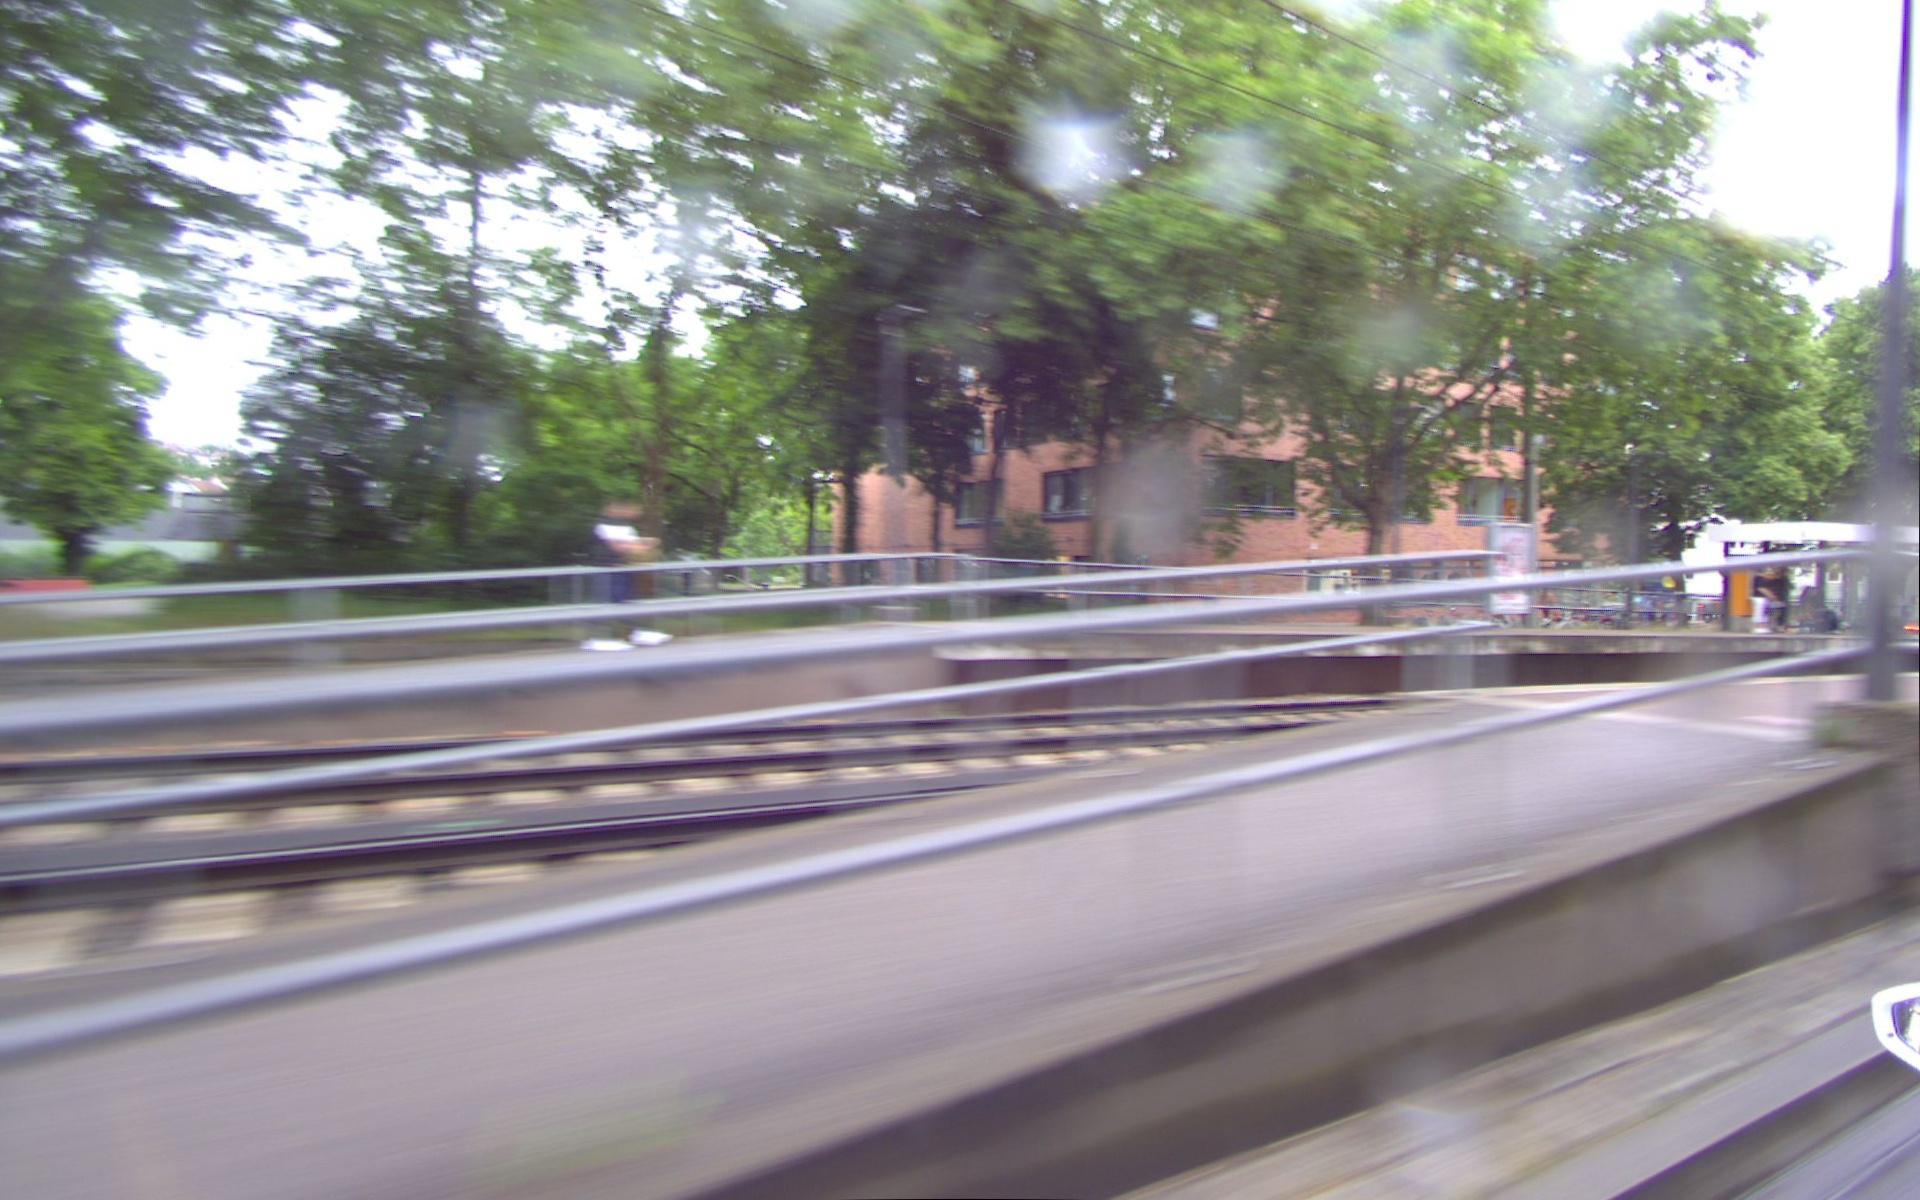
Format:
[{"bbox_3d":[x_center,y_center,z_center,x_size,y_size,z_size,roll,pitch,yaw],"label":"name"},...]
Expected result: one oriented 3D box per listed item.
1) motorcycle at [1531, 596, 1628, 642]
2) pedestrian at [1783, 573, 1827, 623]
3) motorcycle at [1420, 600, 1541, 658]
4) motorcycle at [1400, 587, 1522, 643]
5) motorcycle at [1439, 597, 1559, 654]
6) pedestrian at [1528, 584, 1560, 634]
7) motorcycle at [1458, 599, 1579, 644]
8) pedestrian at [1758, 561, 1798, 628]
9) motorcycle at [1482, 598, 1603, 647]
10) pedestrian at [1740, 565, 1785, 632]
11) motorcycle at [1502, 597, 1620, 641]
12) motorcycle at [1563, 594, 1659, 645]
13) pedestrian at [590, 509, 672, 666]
[{"bbox_3d":[24.048,0.714,39.089,0.995,1.649,3.042,1,1,-31],"label":"motorcycle"},{"bbox_3d":[23.722,-0.064,28.210,0.558,1.381,0.773,0,2,-32],"label":"pedestrian"},{"bbox_3d":[18.495,0.975,35.846,0.995,1.840,3.843,1,1,-31],"label":"motorcycle"},{"bbox_3d":[17.471,0.477,35.171,0.995,1.797,3.843,1,1,-31],"label":"motorcycle"},{"bbox_3d":[19.470,0.877,36.429,0.995,1.840,3.843,1,1,-31],"label":"motorcycle"},{"bbox_3d":[24.672,0.381,42.427,0.968,2.041,0.730,1,1,-27],"label":"pedestrian"},{"bbox_3d":[20.349,0.749,36.735,0.995,1.426,3.843,1,1,-31],"label":"motorcycle"},{"bbox_3d":[21.548,-0.159,26.466,0.698,1.738,0.559,0,2,-32],"label":"pedestrian"},{"bbox_3d":[21.517,0.787,37.263,0.995,1.627,3.843,1,1,-31],"label":"motorcycle"},{"bbox_3d":[20.244,-0.049,25.354,0.558,1.663,0.682,0,2,-32],"label":"pedestrian"},{"bbox_3d":[23.033,0.702,38.605,0.995,1.508,3.843,1,1,-31],"label":"motorcycle"},{"bbox_3d":[25.697,0.738,39.737,0.982,1.840,3.020,1,1,-31],"label":"motorcycle"},{"bbox_3d":[-3.673,-0.156,11.206,0.679,1.686,0.654,-4,4,-30],"label":"pedestrian"}]
